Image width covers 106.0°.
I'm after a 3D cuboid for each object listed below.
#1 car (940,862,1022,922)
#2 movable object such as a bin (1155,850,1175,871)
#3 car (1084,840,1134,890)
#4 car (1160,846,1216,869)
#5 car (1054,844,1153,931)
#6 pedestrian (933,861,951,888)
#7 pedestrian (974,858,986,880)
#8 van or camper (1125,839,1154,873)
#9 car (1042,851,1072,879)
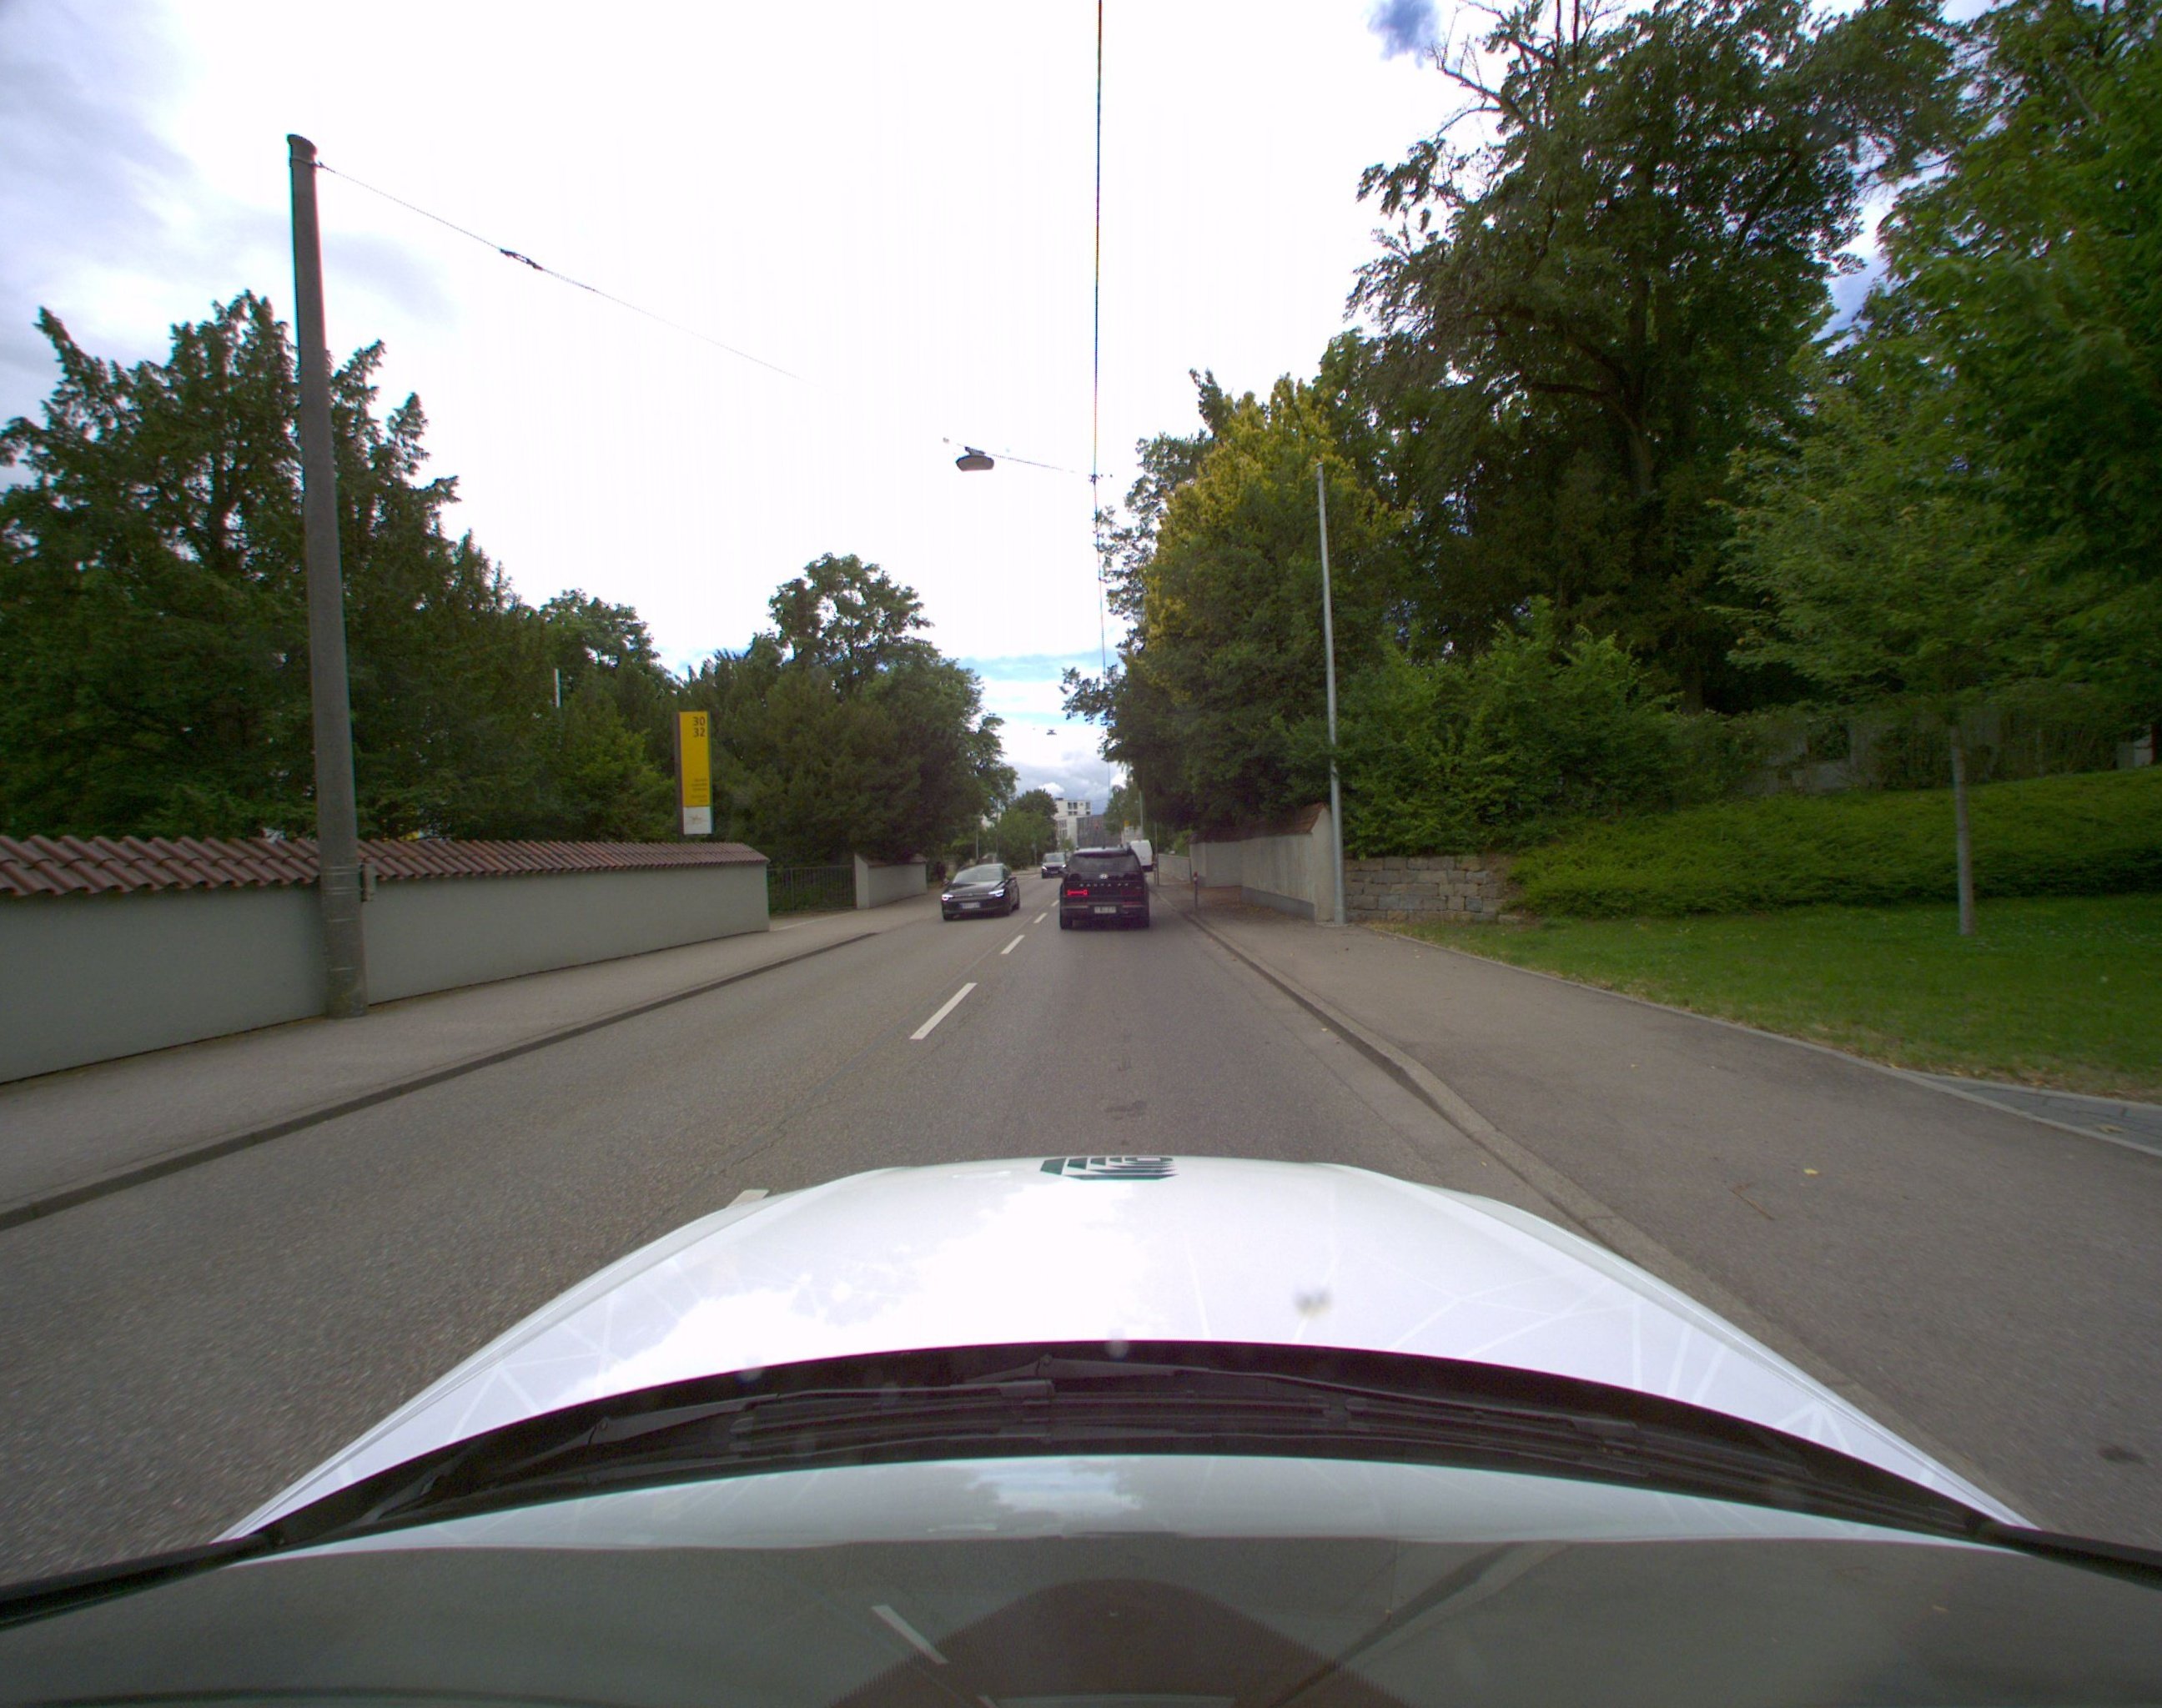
[{"bbox_3d":[-2.710,0.995,22.957,1.780,1.428,3.998,-3,0,-1],"label":"car"},{"bbox_3d":[6.297,0.501,60.962,1.295,1.450,1.181,-3,0,1],"label":"movable object such as a bin"},{"bbox_3d":[1.185,0.464,35.344,1.957,2.001,4.001,-2,0,1],"label":"car"},{"bbox_3d":[8.810,0.265,67.035,4.376,1.652,1.831,-3,0,3],"label":"car"},{"bbox_3d":[0.521,0.675,18.279,1.956,1.711,4.002,-1,0,2],"label":"car"},{"bbox_3d":[-7.930,1.174,46.510,0.923,1.560,0.901,0,-2,-3],"label":"pedestrian"},{"bbox_3d":[-7.413,1.122,59.882,0.746,1.578,0.967,-1,0,1],"label":"pedestrian"},{"bbox_3d":[4.981,0.153,69.864,1.957,2.627,6.360,-4,0,1],"label":"van or camper"},{"bbox_3d":[-1.729,0.831,61.422,1.884,1.855,5.083,-5,0,1],"label":"car"}]
